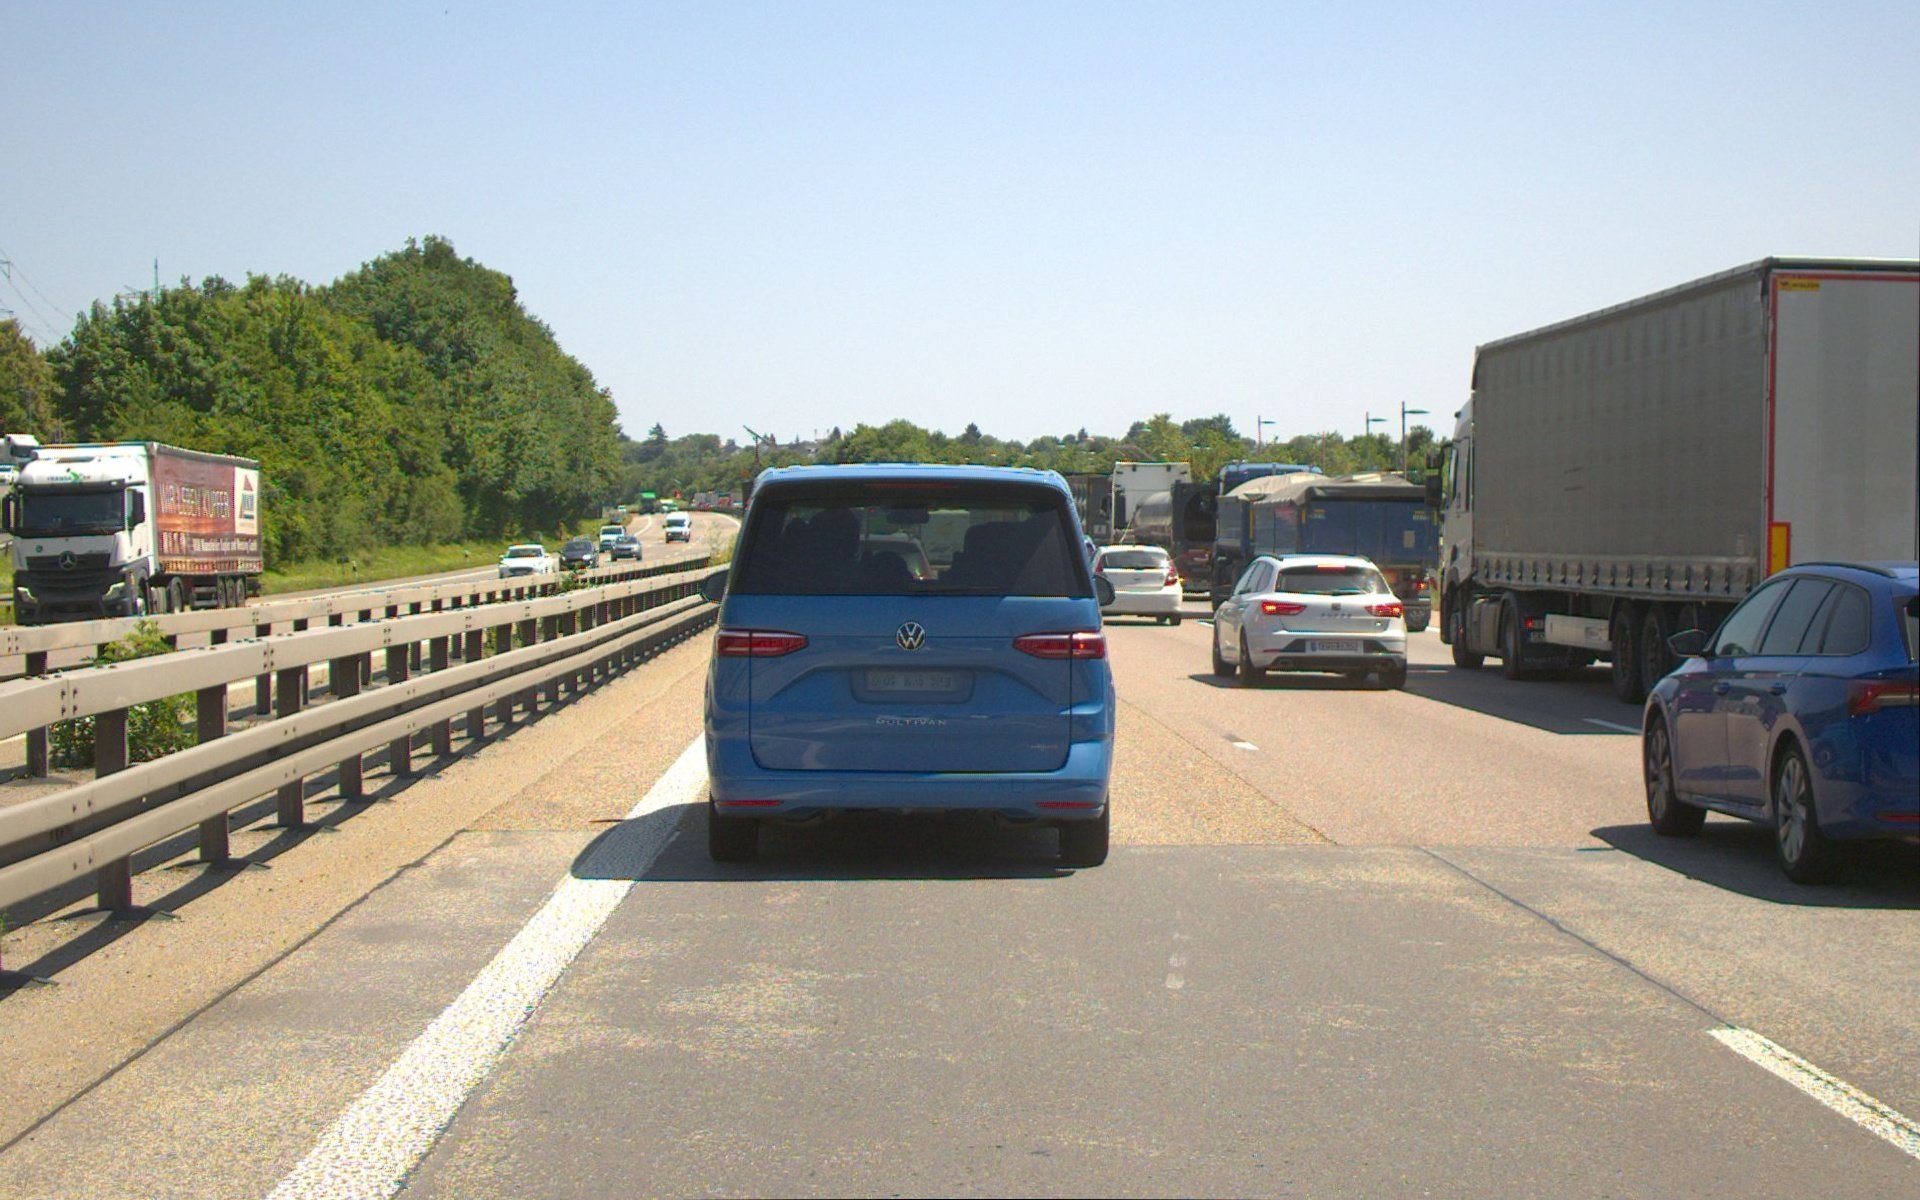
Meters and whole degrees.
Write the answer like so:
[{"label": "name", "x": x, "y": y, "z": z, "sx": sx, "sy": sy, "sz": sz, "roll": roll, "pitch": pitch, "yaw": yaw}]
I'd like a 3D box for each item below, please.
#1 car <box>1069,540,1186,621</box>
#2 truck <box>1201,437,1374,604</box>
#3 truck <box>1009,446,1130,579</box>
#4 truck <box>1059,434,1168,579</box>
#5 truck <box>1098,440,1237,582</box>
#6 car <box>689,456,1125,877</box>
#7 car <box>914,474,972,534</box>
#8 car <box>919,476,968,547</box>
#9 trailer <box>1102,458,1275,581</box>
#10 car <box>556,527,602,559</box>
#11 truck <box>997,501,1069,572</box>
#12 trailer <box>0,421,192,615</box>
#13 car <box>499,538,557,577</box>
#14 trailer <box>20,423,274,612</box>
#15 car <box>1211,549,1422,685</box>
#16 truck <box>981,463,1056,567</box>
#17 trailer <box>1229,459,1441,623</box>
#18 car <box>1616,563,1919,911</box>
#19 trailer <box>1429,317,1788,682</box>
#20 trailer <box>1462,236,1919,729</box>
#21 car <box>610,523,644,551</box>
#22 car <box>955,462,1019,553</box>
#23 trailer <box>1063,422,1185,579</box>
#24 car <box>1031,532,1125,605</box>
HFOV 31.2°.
[{"label": "car", "x": 3.141, "y": -0.381, "z": 65.148, "sx": 1.840, "sy": 1.449, "sz": 4.000, "roll": 1, "pitch": 0, "yaw": -2}, {"label": "truck", "x": 6.815, "y": -1.710, "z": 72.491, "sx": 2.743, "sy": 3.300, "sz": 7.133, "roll": 1, "pitch": 2, "yaw": -1}, {"label": "truck", "x": 4.445, "y": -3.521, "z": 143.802, "sx": 3.621, "sy": 5.195, "sz": 15.691, "roll": 1, "pitch": 0, "yaw": -3}, {"label": "truck", "x": 5.619, "y": -3.403, "z": 126.771, "sx": 3.658, "sy": 5.162, "sz": 5.709, "roll": 1, "pitch": 0, "yaw": 0}, {"label": "truck", "x": 6.225, "y": -2.646, "z": 104.446, "sx": 3.626, "sy": 4.080, "sz": 7.524, "roll": 1, "pitch": 0, "yaw": 0}, {"label": "car", "x": -0.246, "y": 0.279, "z": 17.283, "sx": 1.901, "sy": 1.831, "sz": 4.000, "roll": 1, "pitch": 0, "yaw": 0}, {"label": "car", "x": -0.821, "y": -4.550, "z": 164.171, "sx": 2.550, "sy": 2.708, "sz": 5.622, "roll": 1, "pitch": 0, "yaw": -2}, {"label": "car", "x": -1.290, "y": -6.705, "z": 261.887, "sx": 3.218, "sy": 5.239, "sz": 8.145, "roll": 1, "pitch": 0, "yaw": -3}, {"label": "trailer", "x": 6.173, "y": -2.133, "z": 95.965, "sx": 3.646, "sy": 3.068, "sz": 15.772, "roll": 1, "pitch": 0, "yaw": 0}, {"label": "car", "x": -18.193, "y": -2.712, "z": 164.107, "sx": 1.876, "sy": 1.441, "sz": 4.145, "roll": -1, "pitch": 1, "yaw": -3}, {"label": "truck", "x": 1.959, "y": -1.715, "z": 93.388, "sx": 1.725, "sy": 1.851, "sz": 4.000, "roll": 1, "pitch": 0, "yaw": -2}, {"label": "trailer", "x": -18.657, "y": -1.781, "z": 74.326, "sx": 2.757, "sy": 3.962, "sz": 6.132, "roll": -2, "pitch": 2, "yaw": -2}, {"label": "car", "x": -16.601, "y": -1.634, "z": 132.291, "sx": 1.850, "sy": 1.462, "sz": 4.305, "roll": -1, "pitch": 1, "yaw": -3}, {"label": "trailer", "x": -18.812, "y": -1.951, "z": 80.706, "sx": 2.763, "sy": 3.962, "sz": 14.683, "roll": -2, "pitch": 2, "yaw": -2}, {"label": "car", "x": 3.873, "y": 0.149, "z": 37.915, "sx": 1.867, "sy": 1.356, "sz": 4.000, "roll": 1, "pitch": 1, "yaw": 0}, {"label": "truck", "x": 2.839, "y": -4.089, "z": 169.644, "sx": 3.068, "sy": 4.903, "sz": 10.691, "roll": 1, "pitch": 0, "yaw": -2}, {"label": "trailer", "x": 6.957, "y": -1.195, "z": 65.096, "sx": 2.743, "sy": 2.827, "sz": 9.117, "roll": 1, "pitch": 2, "yaw": -1}, {"label": "car", "x": 4.478, "y": 0.564, "z": 16.505, "sx": 1.706, "sy": 1.436, "sz": 4.428, "roll": 1, "pitch": 0, "yaw": -1}, {"label": "trailer", "x": 7.642, "y": -1.200, "z": 41.424, "sx": 2.924, "sy": 4.030, "sz": 6.411, "roll": 0, "pitch": 1, "yaw": -1}, {"label": "trailer", "x": 7.800, "y": -1.091, "z": 35.135, "sx": 2.962, "sy": 4.035, "sz": 13.753, "roll": 0, "pitch": 1, "yaw": -1}, {"label": "car", "x": -19.598, "y": -3.700, "z": 202.565, "sx": 1.773, "sy": 1.625, "sz": 3.951, "roll": 1, "pitch": 0, "yaw": -3}, {"label": "car", "x": 1.553, "y": -5.439, "z": 204.054, "sx": 3.218, "sy": 5.239, "sz": 8.145, "roll": 1, "pitch": 0, "yaw": -3}, {"label": "trailer", "x": 5.625, "y": -3.346, "z": 120.439, "sx": 3.646, "sy": 5.118, "sz": 13.076, "roll": 1, "pitch": 0, "yaw": 0}, {"label": "car", "x": 2.586, "y": -0.698, "z": 75.862, "sx": 1.781, "sy": 1.519, "sz": 4.000, "roll": 1, "pitch": 0, "yaw": -2}]
